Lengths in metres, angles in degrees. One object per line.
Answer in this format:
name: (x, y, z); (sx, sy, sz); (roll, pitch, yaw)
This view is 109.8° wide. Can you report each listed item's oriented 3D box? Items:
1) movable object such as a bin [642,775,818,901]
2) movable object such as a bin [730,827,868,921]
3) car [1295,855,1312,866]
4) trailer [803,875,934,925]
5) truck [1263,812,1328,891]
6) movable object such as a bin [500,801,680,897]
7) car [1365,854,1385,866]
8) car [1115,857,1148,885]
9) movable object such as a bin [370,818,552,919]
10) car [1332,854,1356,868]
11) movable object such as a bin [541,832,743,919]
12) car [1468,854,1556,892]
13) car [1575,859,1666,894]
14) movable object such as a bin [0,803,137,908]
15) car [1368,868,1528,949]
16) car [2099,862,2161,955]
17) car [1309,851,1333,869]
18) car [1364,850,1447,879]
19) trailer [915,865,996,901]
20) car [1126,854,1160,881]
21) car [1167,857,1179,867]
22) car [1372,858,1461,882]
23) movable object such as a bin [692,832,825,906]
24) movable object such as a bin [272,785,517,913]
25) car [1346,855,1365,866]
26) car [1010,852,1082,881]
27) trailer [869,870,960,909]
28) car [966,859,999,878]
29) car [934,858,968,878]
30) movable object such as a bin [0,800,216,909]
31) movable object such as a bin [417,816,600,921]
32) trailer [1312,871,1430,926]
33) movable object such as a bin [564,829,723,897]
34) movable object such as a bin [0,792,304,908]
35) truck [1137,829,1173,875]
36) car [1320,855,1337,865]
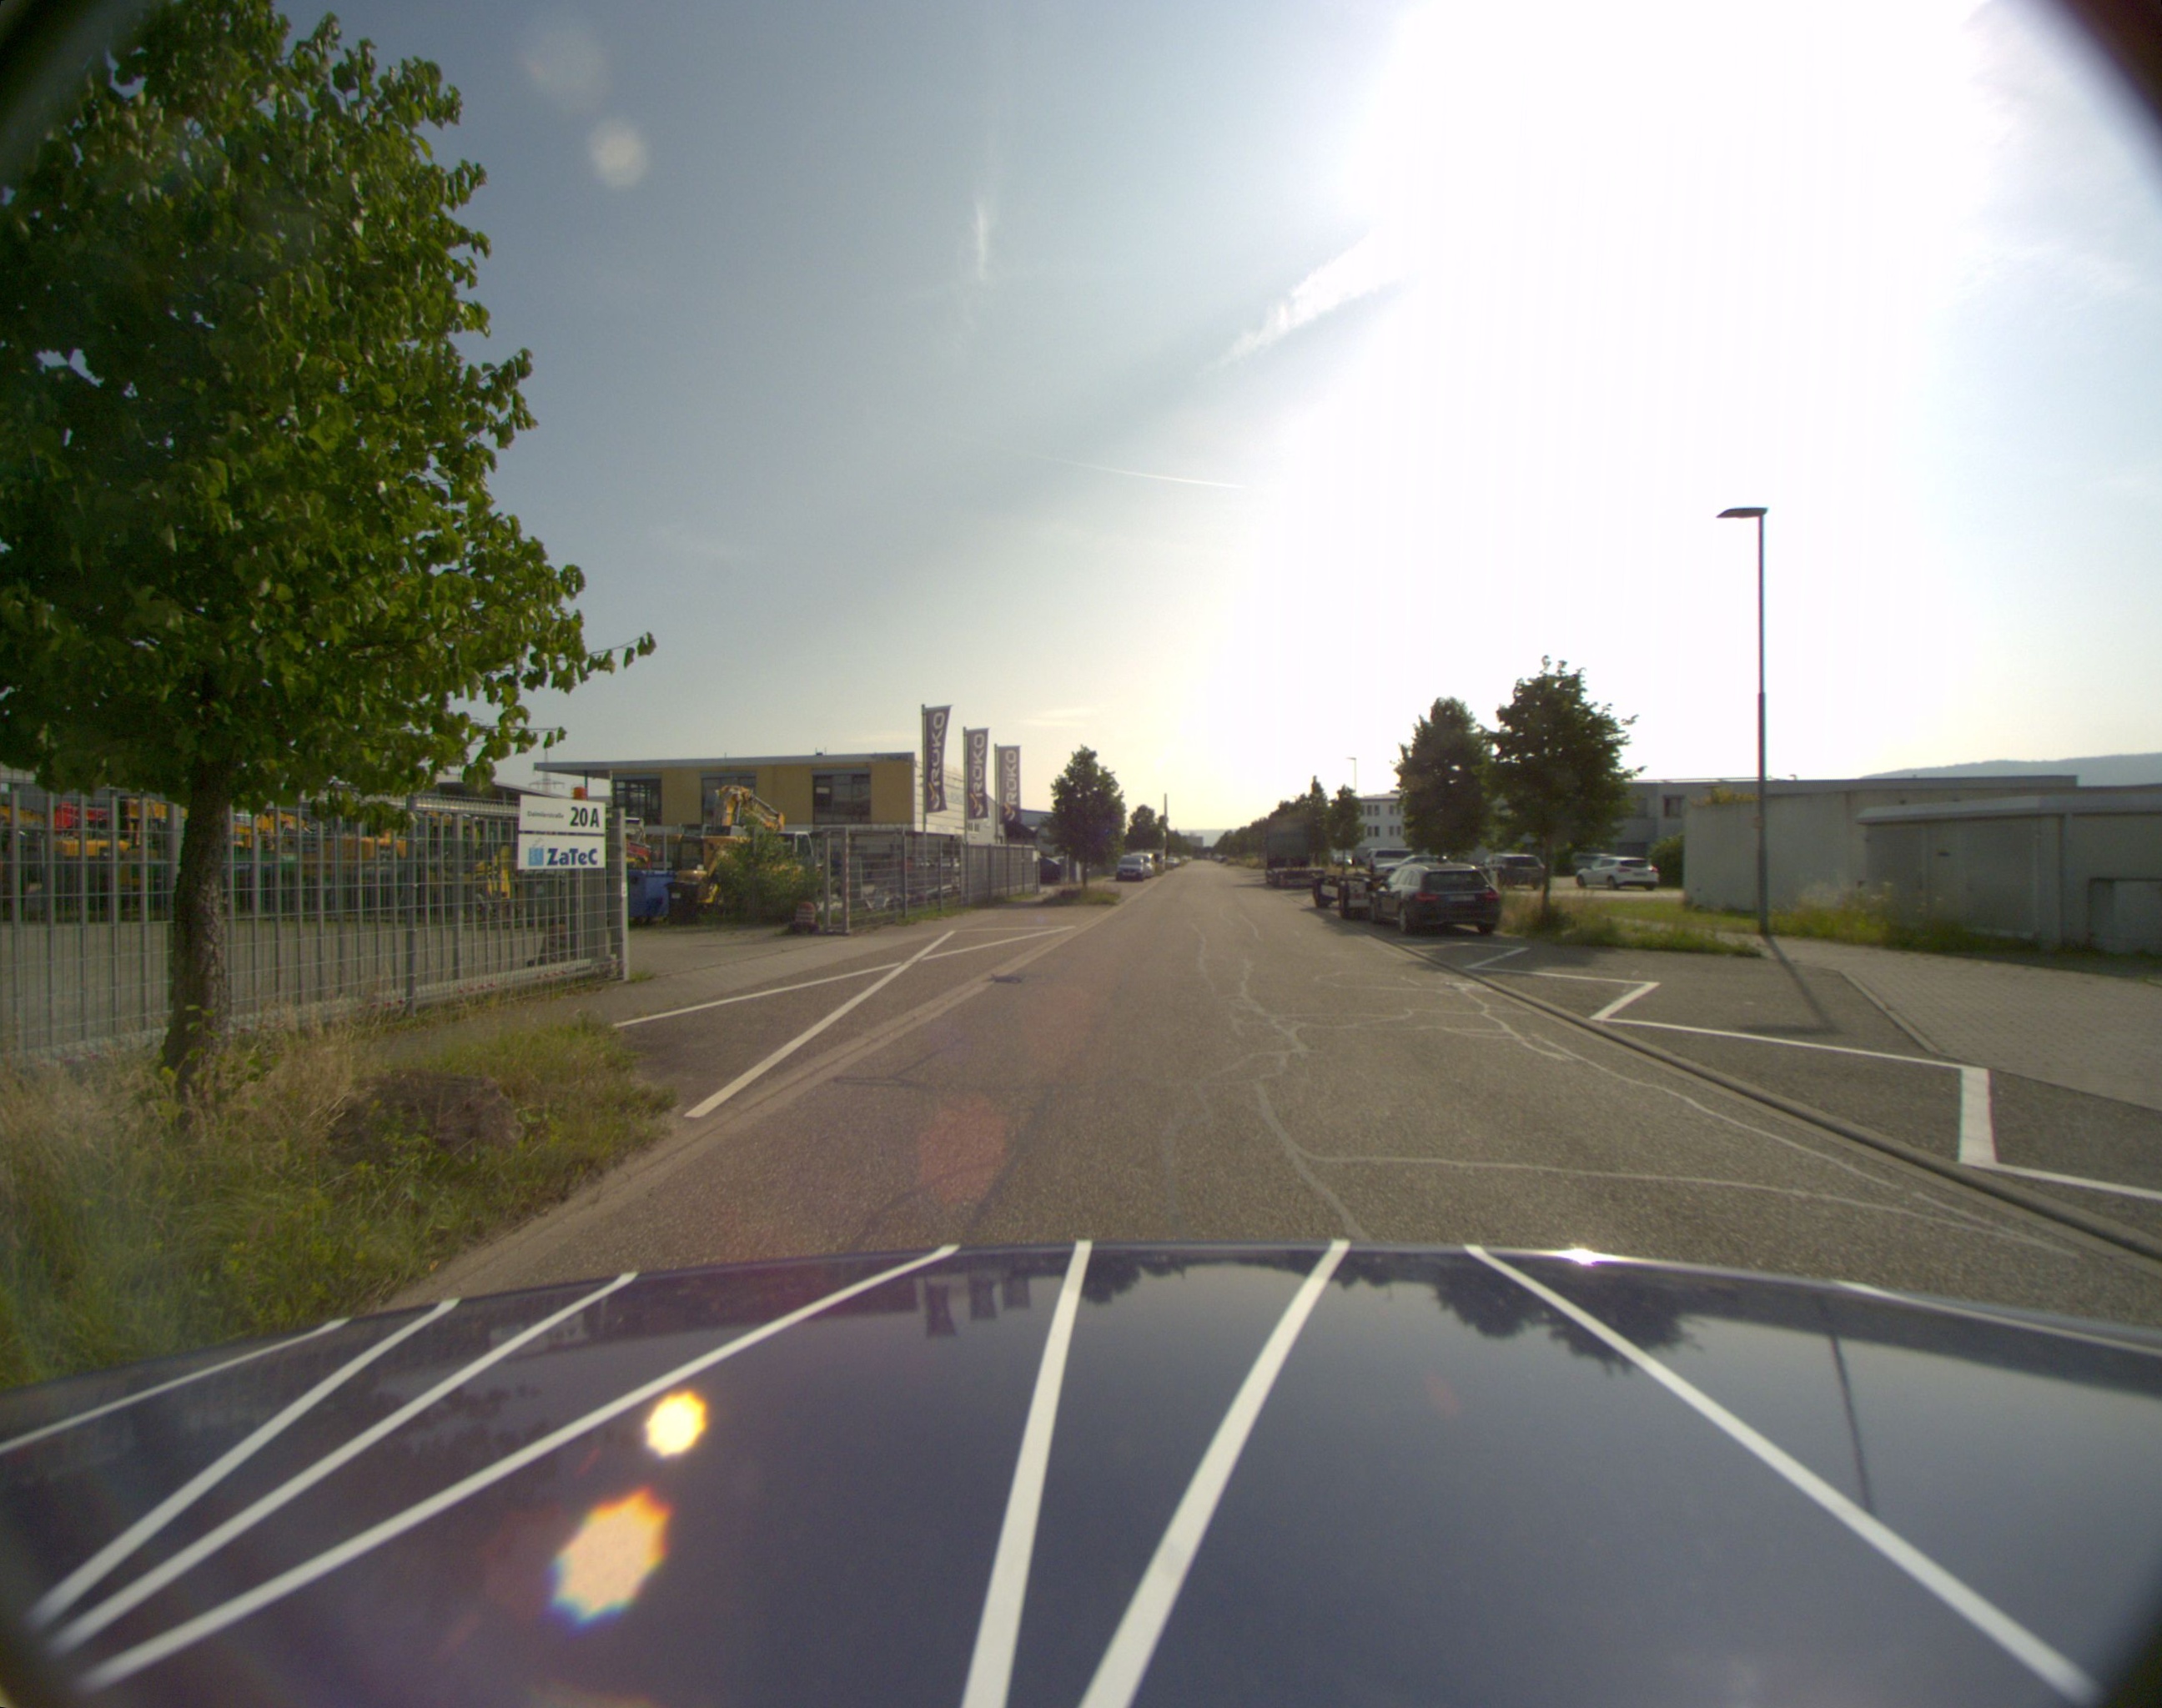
movable object such as a bin: (-14.804, -0.577, 32.956); (3.322, 4.778, 7.678); (0, 0, 8)
movable object such as a bin: (-9.021, 0.575, 24.874); (1.890, 2.736, 5.164); (0, 0, 10)
car: (31.136, 0.904, 106.387); (1.757, 1.401, 3.921); (0, 0, 10)
trailer: (-6.348, 1.327, 23.360); (2.130, 1.236, 4.799); (0, 0, 8)
truck: (11.784, -0.171, 42.464); (2.459, 3.859, 9.809); (-2, 0, 10)
movable object such as a bin: (-22.016, -0.194, 34.702); (2.923, 3.906, 7.212); (0, 0, 8)
car: (40.443, 0.791, 104.672); (1.909, 1.609, 3.921); (0, 0, 10)
car: (3.356, 1.069, 49.679); (1.829, 1.710, 4.251); (-1, 1, 8)
movable object such as a bin: (-20.239, 0.442, 25.103); (1.996, 3.014, 4.376); (0, 0, 10)
car: (32.205, 0.831, 93.188); (1.946, 1.597, 4.512); (0, 0, 8)
movable object such as a bin: (-13.941, 0.621, 24.693); (2.927, 2.477, 5.343); (0, 0, 10)
car: (20.374, 0.858, 36.172); (1.997, 1.677, 4.702); (0, 0, 8)
car: (25.204, 1.018, 35.693); (1.708, 1.507, 4.216); (1, 0, 8)
movable object such as a bin: (-41.468, 0.046, 29.195); (2.456, 3.906, 6.145); (0, 1, 5)
car: (7.857, 1.105, 16.790); (1.997, 1.458, 4.436); (-2, -1, 10)
car: (18.481, 0.856, 11.026); (1.774, 1.516, 4.306); (0, -1, 4)
car: (26.563, 0.654, 84.232); (1.885, 2.002, 4.995); (0, 0, 9)
car: (21.440, 0.697, 50.337); (4.712, 1.825, 2.104); (0, 0, 9)
trailer: (-5.330, 1.224, 32.951); (1.997, 1.303, 4.566); (-1, 1, 10)
car: (4.523, 0.932, 54.777); (1.997, 1.779, 4.603); (-1, 1, 10)
car: (13.643, 1.169, 112.726); (1.667, 1.495, 3.543); (2, 0, 8)
car: (20.954, 0.974, 47.656); (4.736, 1.423, 2.001); (-1, 0, 7)
movable object such as a bin: (-11.480, 0.487, 27.473); (1.996, 2.444, 4.768); (0, 0, 13)
movable object such as a bin: (-22.983, -0.135, 25.908); (2.688, 3.851, 5.722); (0, 0, 10)
car: (37.914, 0.888, 105.025); (1.757, 1.459, 3.921); (0, 0, 10)
car: (-2.122, 0.760, 46.466); (4.234, 1.727, 1.899); (-1, 0, 2)
trailer: (-6.052, 1.270, 28.152); (1.948, 1.236, 4.296); (0, 0, 8)
car: (-8.319, 1.190, 64.649); (1.893, 1.547, 4.372); (-1, 0, 4)
car: (-11.148, 1.198, 65.582); (1.893, 1.681, 4.372); (-1, 0, 4)
movable object such as a bin: (-38.098, -0.011, 29.141); (2.456, 3.759, 6.145); (0, 1, 5)
movable object such as a bin: (-18.019, 0.409, 24.242); (1.996, 3.014, 4.495); (0, 0, 10)
trailer: (8.411, 1.212, 22.806); (2.133, 1.225, 7.164); (-2, -1, 11)
movable object such as a bin: (-18.925, 0.388, 33.412); (2.705, 2.700, 6.353); (0, 0, 8)
movable object such as a bin: (-34.970, -0.162, 29.150); (2.471, 3.906, 7.205); (0, 1, 5)
truck: (6.999, -0.164, 70.921); (2.750, 3.991, 9.693); (2, 0, 9)
car: (34.410, 0.840, 105.798); (1.757, 1.459, 3.921); (0, 0, 10)
